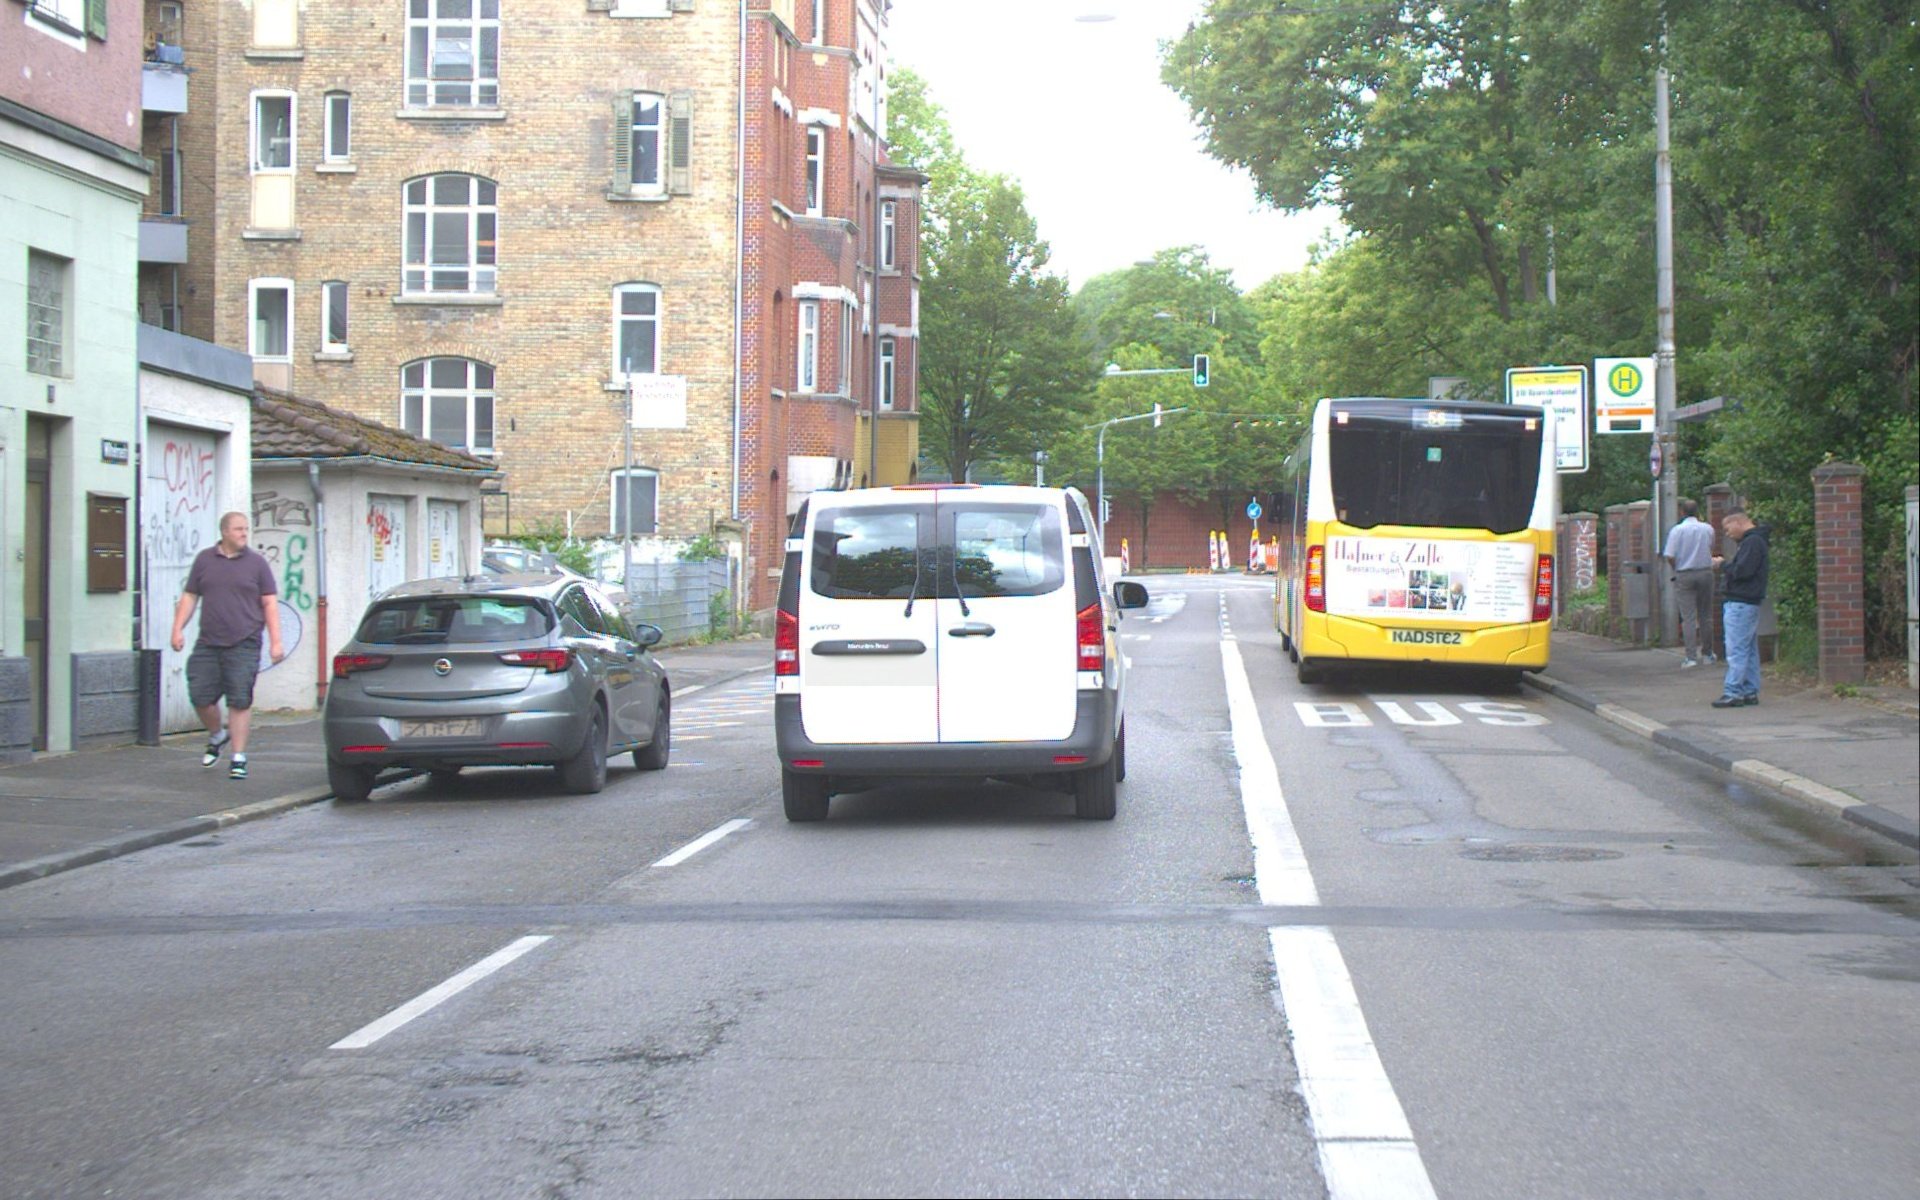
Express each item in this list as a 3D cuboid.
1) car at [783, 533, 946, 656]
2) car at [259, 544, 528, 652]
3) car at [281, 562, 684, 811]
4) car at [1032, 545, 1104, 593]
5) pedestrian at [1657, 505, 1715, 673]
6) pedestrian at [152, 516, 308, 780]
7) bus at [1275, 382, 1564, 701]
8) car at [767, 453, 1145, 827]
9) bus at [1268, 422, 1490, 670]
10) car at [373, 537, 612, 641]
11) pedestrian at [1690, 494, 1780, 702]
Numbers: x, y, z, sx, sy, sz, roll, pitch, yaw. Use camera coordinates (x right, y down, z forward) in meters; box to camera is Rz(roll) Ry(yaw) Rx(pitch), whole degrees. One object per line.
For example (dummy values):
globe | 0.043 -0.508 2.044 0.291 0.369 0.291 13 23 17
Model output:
car | -1.370 -0.123 51.235 1.954 1.728 4.773 0 1 4
car | -8.442 -0.031 51.394 3.596 1.499 1.853 -1 0 5
car | -3.171 0.517 23.652 1.878 1.481 4.126 2 1 4
car | 3.704 -1.069 118.250 2.036 1.480 4.391 0 2 -4
pedestrian | 7.816 -0.117 37.024 0.450 1.773 0.672 -3 0 4
pedestrian | -4.967 0.322 23.453 0.761 1.738 0.984 2 0 2
bus | 5.084 -0.646 39.660 2.663 3.125 10.038 2 1 5
car | 0.053 0.258 20.562 1.917 1.895 4.701 3 -1 2
bus | 5.849 -0.749 49.259 2.672 3.128 9.216 2 1 5
car | -7.676 -0.186 56.632 3.596 1.606 1.688 -1 0 5
pedestrian | 6.776 -0.018 30.083 0.582 1.773 0.821 2 0 4
